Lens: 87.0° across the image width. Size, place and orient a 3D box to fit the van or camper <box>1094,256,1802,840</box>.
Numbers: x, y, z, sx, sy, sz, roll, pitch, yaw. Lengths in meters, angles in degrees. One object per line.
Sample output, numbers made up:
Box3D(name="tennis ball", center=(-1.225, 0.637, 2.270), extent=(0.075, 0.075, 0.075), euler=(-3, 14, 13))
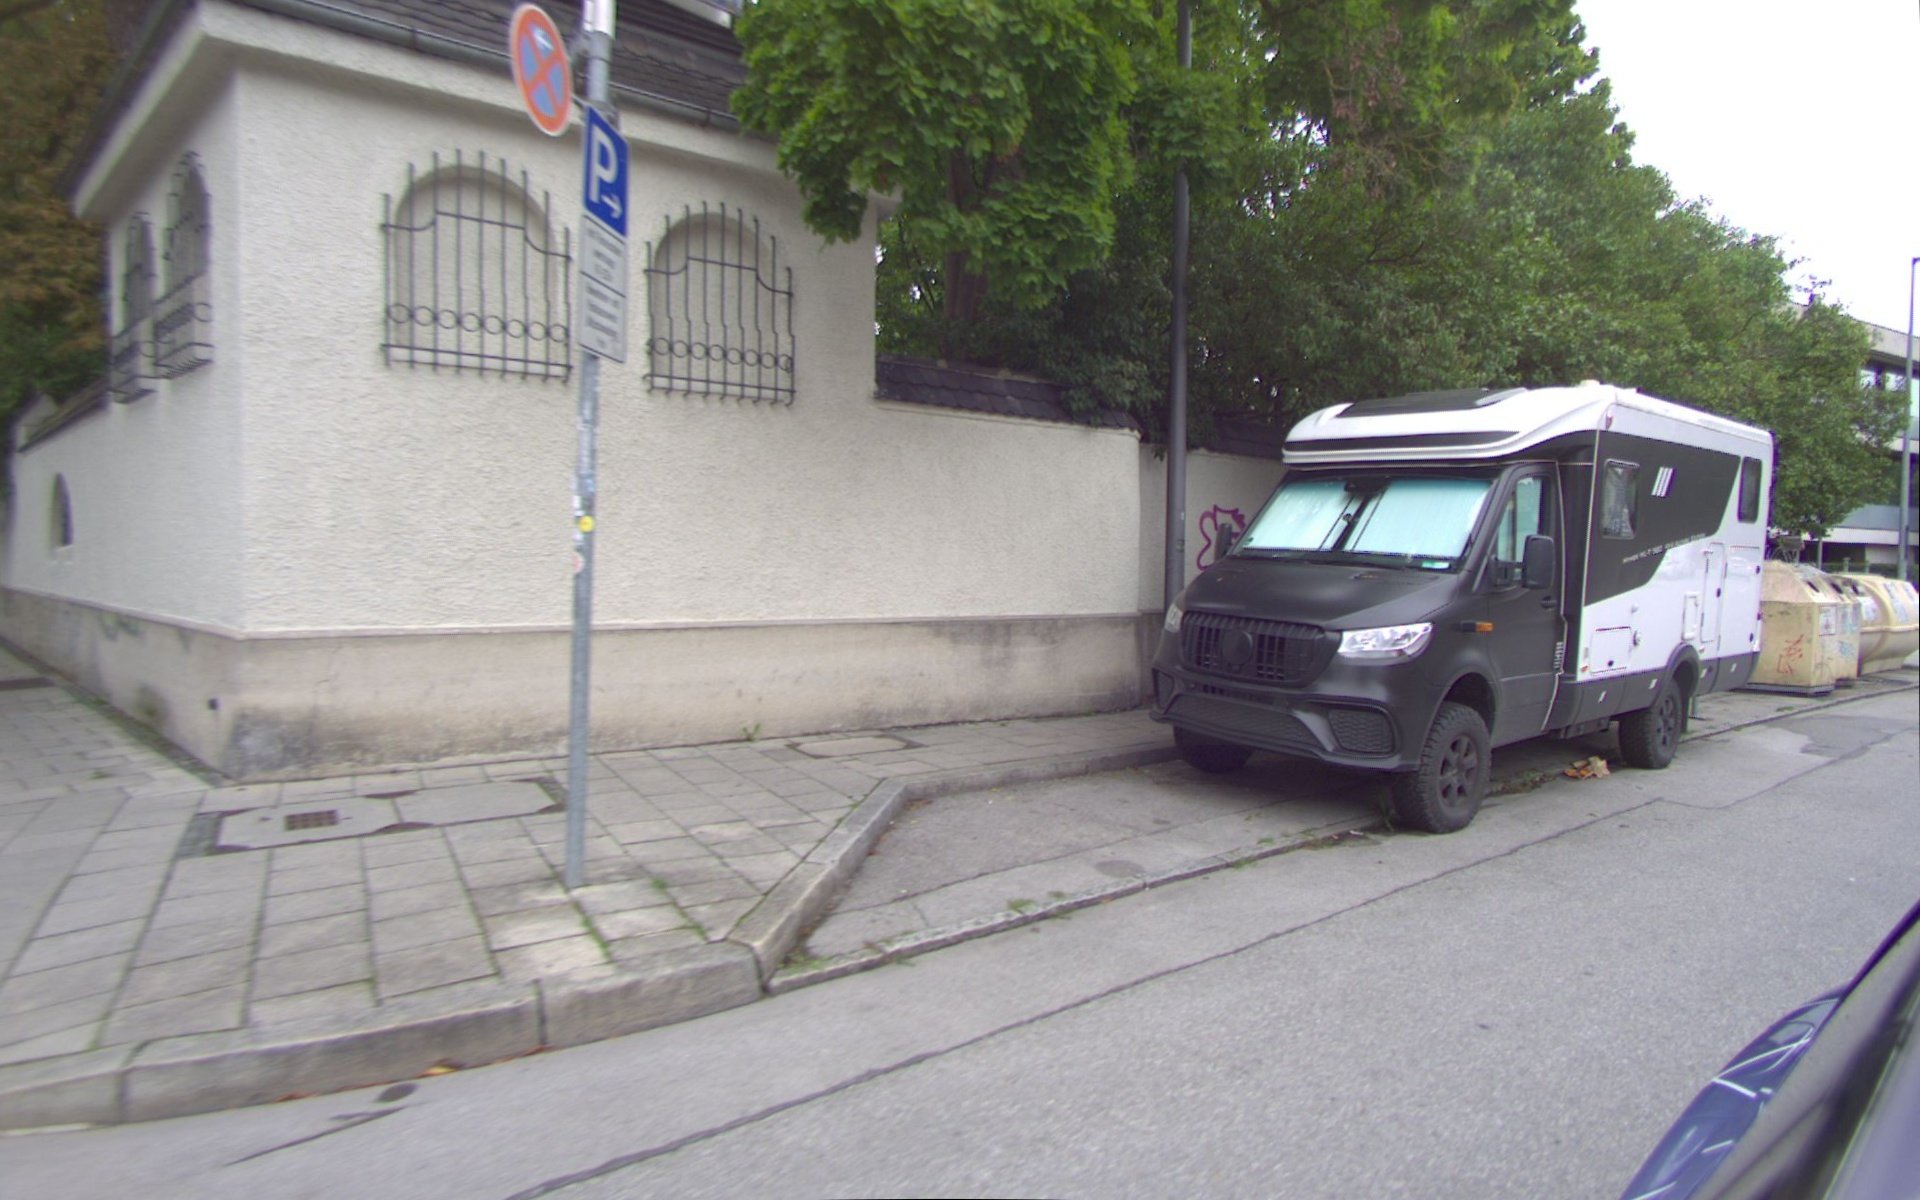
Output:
Box3D(name="van or camper", center=(4.427, -0.333, 8.234), extent=(7.145, 2.942, 2.278), euler=(-1, 2, -39))
